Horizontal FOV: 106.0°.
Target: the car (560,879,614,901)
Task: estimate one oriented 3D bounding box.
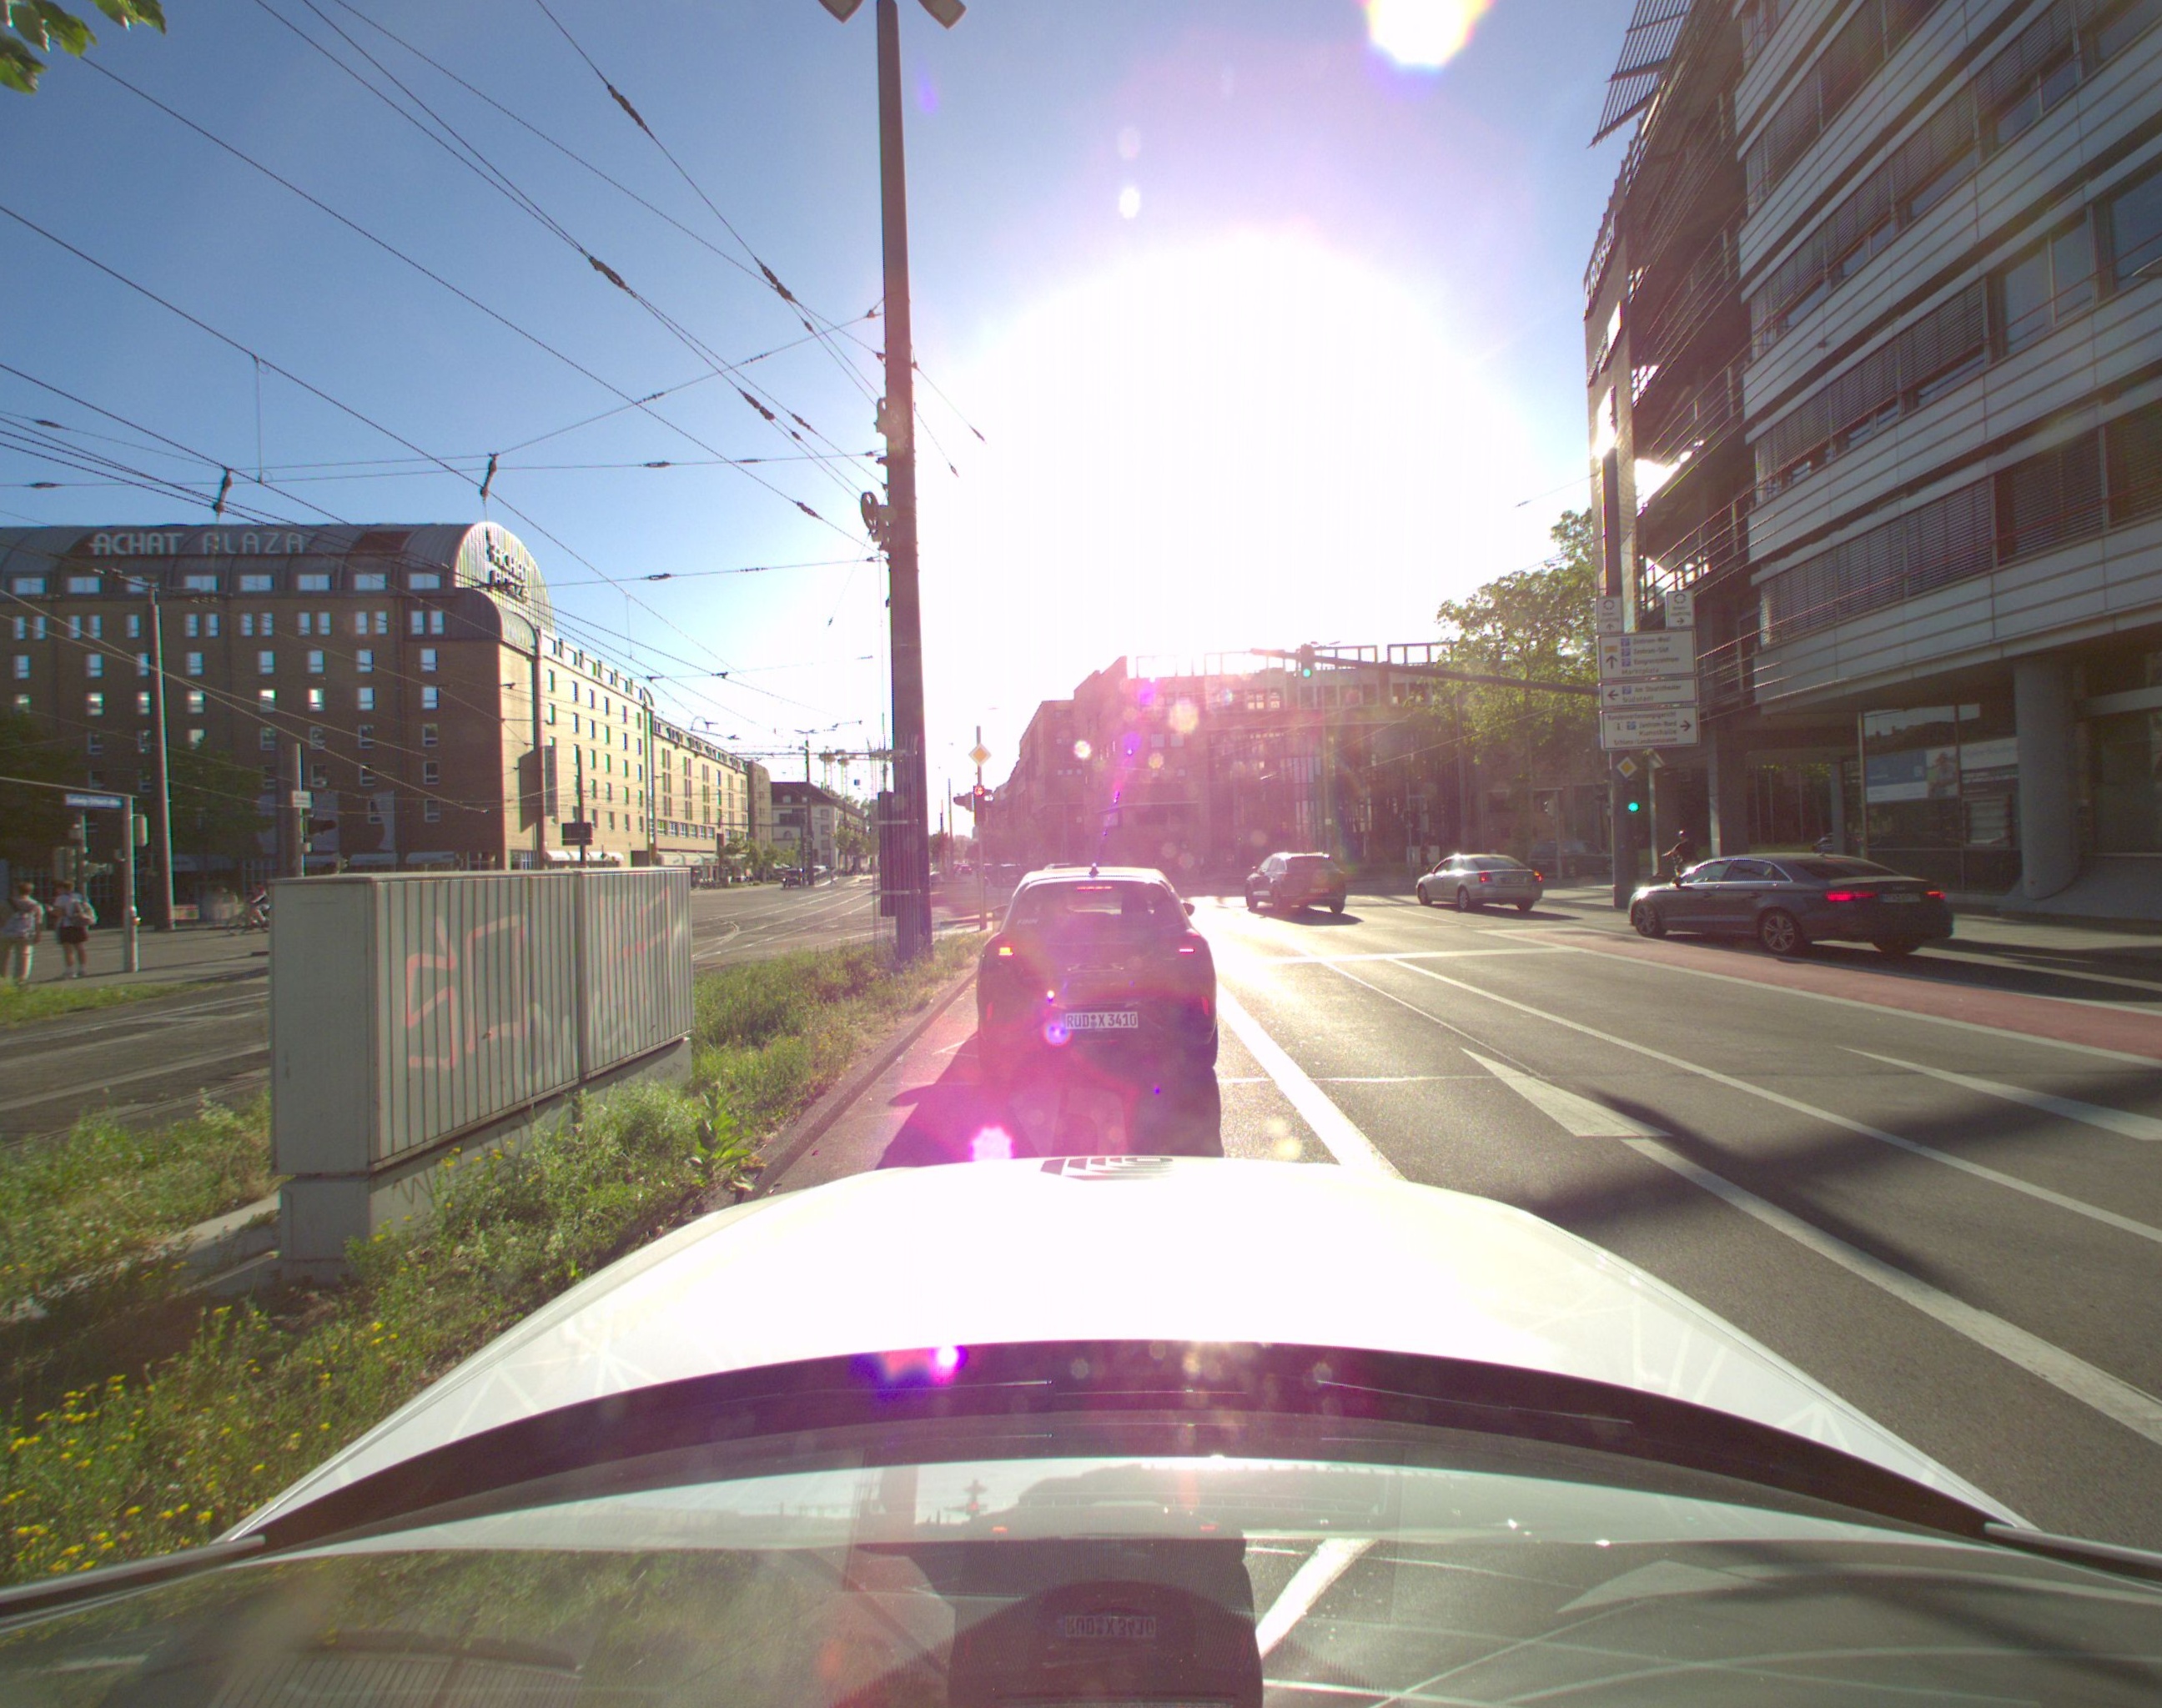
[{"bbox_3d":[-36.038,2.623,59.524,1.751,1.388,3.994,-2,0,-4],"label":"car"}]

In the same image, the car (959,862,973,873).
[{"bbox_3d":[-15.954,1.869,113.036,1.737,1.349,3.986,-2,0,-10],"label":"car"}]

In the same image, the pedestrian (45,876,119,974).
[{"bbox_3d":[-19.214,1.343,15.678,0.562,1.817,0.662,-2,0,-5],"label":"pedestrian"}]

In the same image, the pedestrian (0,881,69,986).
[{"bbox_3d":[-19.235,1.434,14.863,0.630,1.830,0.662,-2,0,-5],"label":"pedestrian"}]

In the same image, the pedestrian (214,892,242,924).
[{"bbox_3d":[-42.494,2.679,40.565,0.674,1.503,0.659,-2,0,-1],"label":"pedestrian"}]

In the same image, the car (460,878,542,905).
[{"bbox_3d":[-37.917,2.460,53.327,3.985,1.550,1.755,-2,0,-9],"label":"car"}]

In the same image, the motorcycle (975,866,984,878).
[{"bbox_3d":[-9.970,1.752,79.935,0.774,1.115,1.964,-2,0,-7],"label":"motorcycle"}]

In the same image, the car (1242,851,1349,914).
[{"bbox_3d":[5.742,0.719,22.294,1.740,1.505,3.877,-2,0,-2],"label":"car"}]

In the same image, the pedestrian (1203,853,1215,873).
[{"bbox_3d":[10.596,0.776,67.381,0.894,1.617,0.562,-2,0,10],"label":"pedestrian"}]

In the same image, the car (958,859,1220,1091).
[{"bbox_3d":[0.155,0.792,7.226,1.642,1.433,4.003,-2,0,3],"label":"car"}]

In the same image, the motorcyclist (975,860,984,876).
[{"bbox_3d":[-9.978,1.331,80.081,0.744,1.530,1.018,-2,0,-6],"label":"motorcyclist"}]

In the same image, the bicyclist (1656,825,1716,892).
[{"bbox_3d":[14.711,0.112,19.830,0.622,1.566,1.043,-2,0,0],"label":"bicyclist"}]

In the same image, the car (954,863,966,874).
[{"bbox_3d":[-19.310,2.323,129.827,1.737,1.651,3.987,-2,0,-9],"label":"car"}]

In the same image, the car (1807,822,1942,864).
[{"bbox_3d":[32.675,-0.443,33.589,3.981,1.651,1.861,-1,0,-6],"label":"car"}]

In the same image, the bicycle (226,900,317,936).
[{"bbox_3d":[-29.890,2.333,30.147,0.649,1.085,2.920,-2,0,-6],"label":"bicycle"}]

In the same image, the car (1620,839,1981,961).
[{"bbox_3d":[10.375,0.581,12.249,1.705,1.441,4.109,-3,0,-1],"label":"car"}]

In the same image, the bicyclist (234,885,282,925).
[{"bbox_3d":[-29.911,1.847,29.614,0.756,1.375,0.949,-2,0,-6],"label":"bicyclist"}]

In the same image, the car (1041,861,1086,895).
[{"bbox_3d":[-0.887,1.093,38.586,1.684,1.433,4.142,-2,0,-7],"label":"car"}]

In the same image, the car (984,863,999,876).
[{"bbox_3d":[-11.047,1.887,100.264,1.805,1.457,3.991,-1,0,-6],"label":"car"}]

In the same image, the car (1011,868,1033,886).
[{"bbox_3d":[-5.043,1.937,69.208,1.804,1.457,3.994,-1,0,-4],"label":"car"}]

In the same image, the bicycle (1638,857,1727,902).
[{"bbox_3d":[14.680,0.601,19.956,0.497,1.032,2.205,-2,0,0],"label":"bicycle"}]

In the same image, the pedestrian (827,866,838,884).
[{"bbox_3d":[-22.248,1.879,72.861,0.765,1.640,0.742,-2,0,-10],"label":"pedestrian"}]

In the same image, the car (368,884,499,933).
[{"bbox_3d":[-22.978,1.878,29.106,1.569,1.449,3.996,-2,0,-3],"label":"car"}]

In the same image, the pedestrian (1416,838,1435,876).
[{"bbox_3d":[16.072,0.150,38.010,0.700,1.759,0.564,-2,-1,27],"label":"pedestrian"}]

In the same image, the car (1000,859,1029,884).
[{"bbox_3d":[-4.343,1.116,53.406,1.808,1.492,4.488,0,0,-5],"label":"car"}]

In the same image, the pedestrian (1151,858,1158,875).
[{"bbox_3d":[6.283,1.056,69.945,0.527,1.430,0.598,-2,0,1],"label":"pedestrian"}]

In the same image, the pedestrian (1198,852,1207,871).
[{"bbox_3d":[10.474,0.680,70.178,0.733,1.617,0.562,-2,0,10],"label":"pedestrian"}]

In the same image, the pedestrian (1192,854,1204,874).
[{"bbox_3d":[9.717,0.848,67.836,0.894,1.617,0.562,-2,0,10],"label":"pedestrian"}]

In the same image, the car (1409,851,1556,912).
[{"bbox_3d":[10.763,0.686,22.230,1.745,1.431,4.487,-2,0,0],"label":"car"}]

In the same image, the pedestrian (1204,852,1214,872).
[{"bbox_3d":[10.806,0.669,68.839,0.733,1.617,0.562,-2,0,10],"label":"pedestrian"}]

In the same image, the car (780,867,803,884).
[{"bbox_3d":[-28.175,2.043,79.351,1.748,1.505,3.860,-2,0,-15],"label":"car"}]

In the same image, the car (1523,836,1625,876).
[{"bbox_3d":[22.005,0.078,36.325,4.471,1.629,1.679,-2,0,-26],"label":"car"}]
